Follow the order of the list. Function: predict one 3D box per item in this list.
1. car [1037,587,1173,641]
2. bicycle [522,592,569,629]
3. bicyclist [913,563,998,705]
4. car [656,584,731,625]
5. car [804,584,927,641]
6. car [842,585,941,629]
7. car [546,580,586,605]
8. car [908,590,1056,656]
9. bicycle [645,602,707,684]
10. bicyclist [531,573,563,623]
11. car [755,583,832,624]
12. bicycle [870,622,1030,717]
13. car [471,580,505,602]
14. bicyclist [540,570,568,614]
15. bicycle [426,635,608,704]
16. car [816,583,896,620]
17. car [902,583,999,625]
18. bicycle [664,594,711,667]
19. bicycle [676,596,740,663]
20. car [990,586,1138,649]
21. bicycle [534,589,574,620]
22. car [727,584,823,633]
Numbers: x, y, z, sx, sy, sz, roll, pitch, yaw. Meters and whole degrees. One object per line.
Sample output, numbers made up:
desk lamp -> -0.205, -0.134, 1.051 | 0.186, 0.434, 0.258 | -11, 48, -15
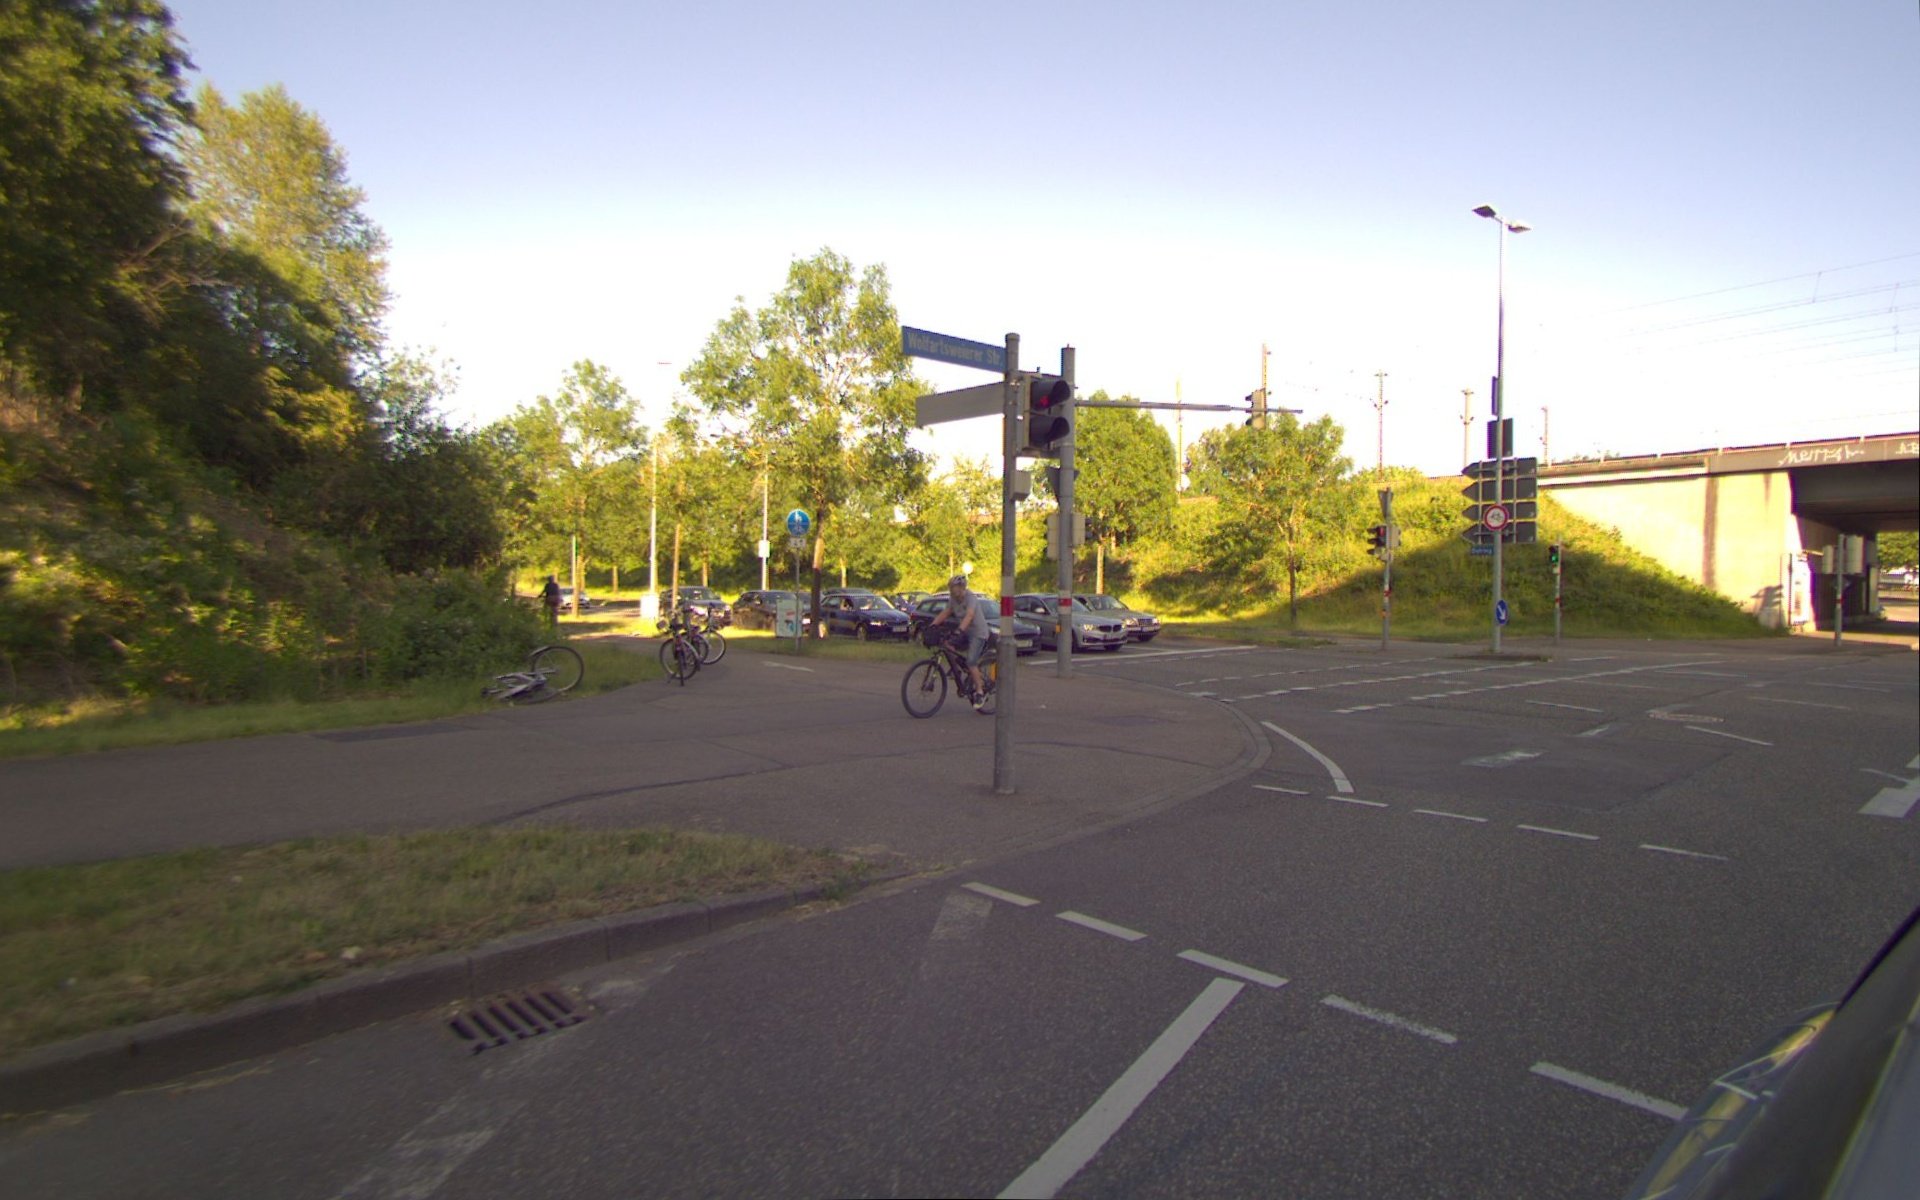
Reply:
car -> 4.320, 0.378, 30.629 | 1.783, 1.450, 3.999 | -2, 2, -36
bicycle -> -13.058, 0.325, 31.853 | 0.687, 1.049, 2.261 | 3, 0, -39
bicyclist -> -0.054, 0.379, 12.116 | 0.850, 1.630, 0.566 | 0, 0, -41
car -> -11.041, 0.138, 41.750 | 1.759, 1.549, 3.855 | -2, 2, -35
car -> -2.966, 0.329, 31.125 | 1.812, 1.549, 3.913 | -3, 3, -41
car -> -2.422, 0.195, 34.811 | 1.468, 1.376, 3.998 | -2, 2, -37
car -> -26.188, -0.532, 67.288 | 1.590, 1.549, 3.855 | -2, 2, -35
car -> 0.494, 0.518, 26.141 | 1.772, 1.494, 3.999 | -2, 2, -36
bicycle -> -4.096, 0.573, 14.499 | 0.445, 1.066, 1.999 | 0, 1, -28
bicyclist -> -12.978, -0.067, 31.781 | 0.687, 1.527, 0.664 | 3, -1, -40
car -> -6.879, 0.091, 41.533 | 1.590, 1.549, 3.855 | -2, 2, -35
bicycle -> -0.084, 0.787, 12.075 | 2.011, 1.004, 0.572 | 0, 0, -41
car -> -34.666, -0.692, 74.324 | 1.590, 1.549, 3.855 | -2, 2, -35
bicyclist -> -14.985, -0.301, 37.354 | 0.687, 1.567, 0.814 | 3, -1, -39
bicycle -> -5.270, 0.800, 12.235 | 0.831, 0.629, 2.186 | 3, 1, 15
car -> -4.415, 0.010, 42.510 | 1.561, 1.450, 3.876 | -2, 2, -37
car -> -0.403, 0.098, 37.676 | 1.561, 1.450, 3.998 | -2, 2, -37
bicycle -> -4.662, 0.491, 17.273 | 0.445, 1.160, 1.661 | 0, 1, -27
bicycle -> -4.716, 0.517, 18.847 | 0.685, 1.119, 2.267 | 3, 0, -25
car -> 2.703, 0.413, 27.183 | 1.782, 1.494, 4.000 | -2, 2, -35
bicycle -> -14.991, 0.173, 37.332 | 0.687, 1.049, 2.261 | 3, 0, -39
car -> -6.576, 0.243, 35.696 | 1.740, 1.549, 4.141 | -2, 2, -35
